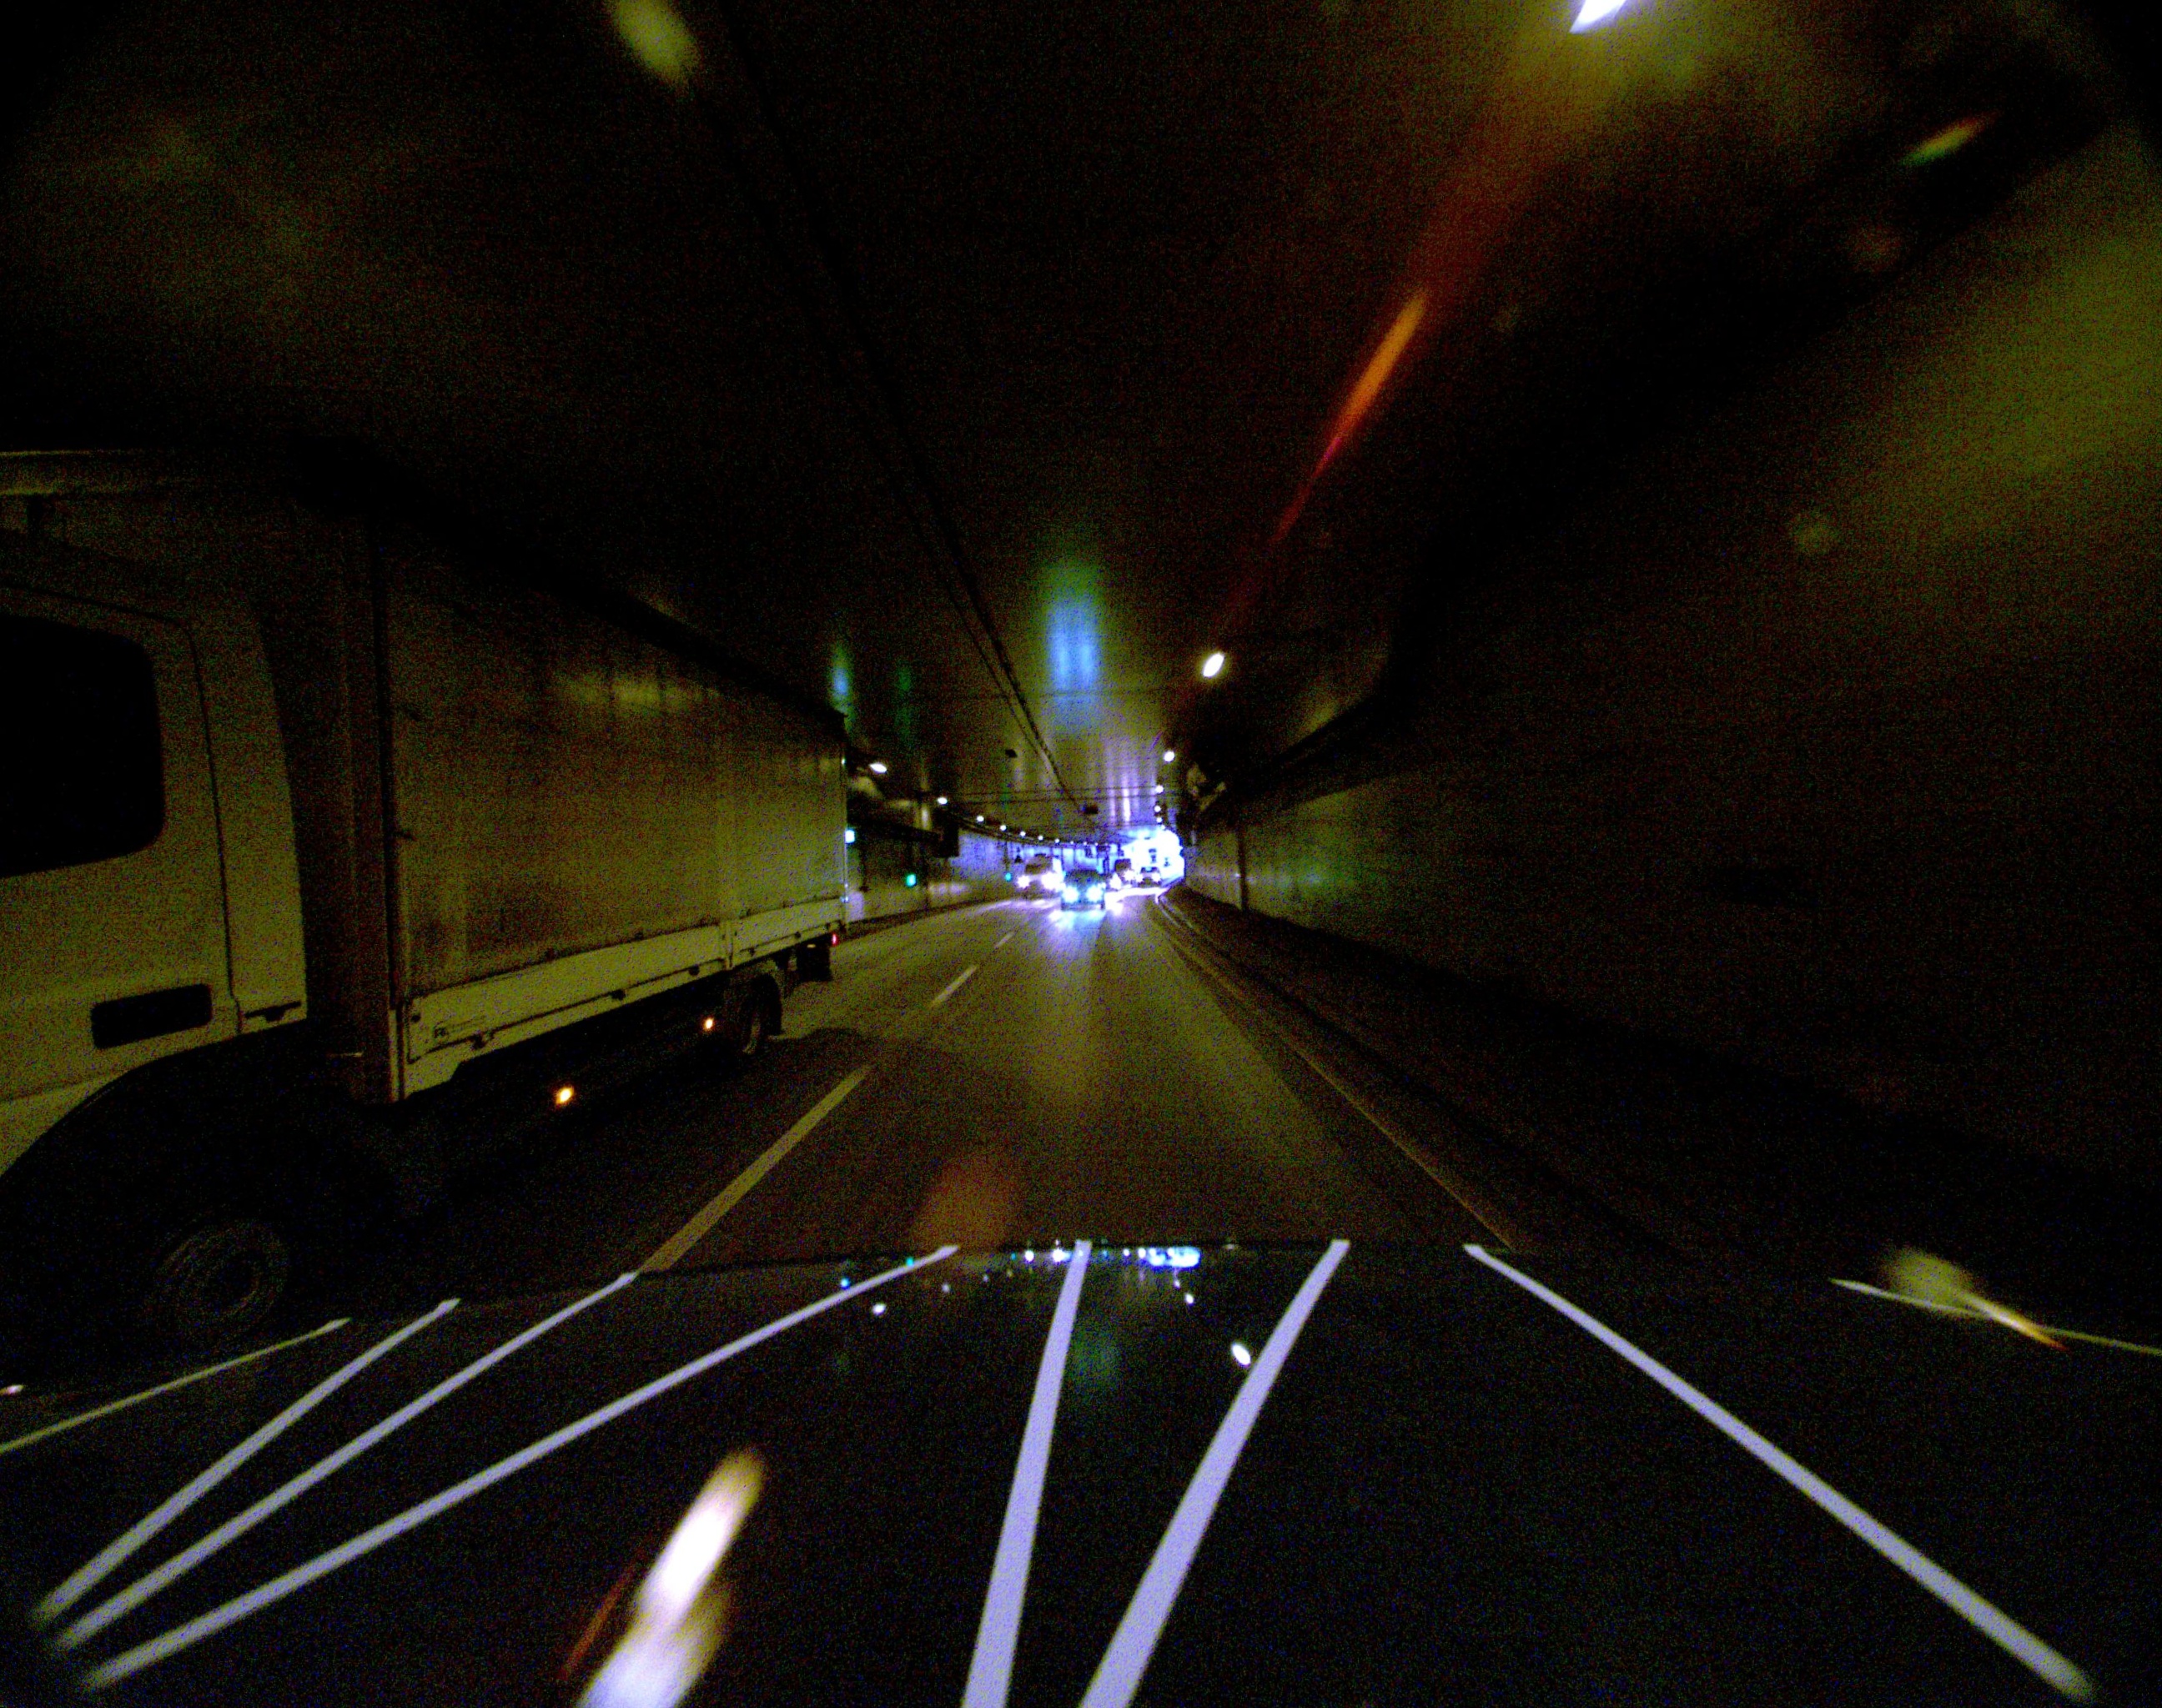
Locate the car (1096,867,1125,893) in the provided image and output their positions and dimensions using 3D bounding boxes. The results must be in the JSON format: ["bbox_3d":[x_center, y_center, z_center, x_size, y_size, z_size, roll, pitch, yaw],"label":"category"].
[{"bbox_3d":[2.239,1.889,56.514,1.764,1.552,3.819,-5,1,6],"label":"car"}]

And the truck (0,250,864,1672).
[{"bbox_3d":[-3.660,0.273,4.358,2.560,3.162,7.246,-2,0,1],"label":"truck"}]

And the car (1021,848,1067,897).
[{"bbox_3d":[-2.320,1.218,49.428,2.106,2.829,6.865,-3,-2,4],"label":"car"}]

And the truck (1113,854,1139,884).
[{"bbox_3d":[4.699,1.469,78.675,2.073,2.525,6.024,-5,2,7],"label":"truck"}]

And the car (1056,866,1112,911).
[{"bbox_3d":[0.164,1.276,29.387,1.638,1.551,3.719,-2,-1,8],"label":"car"}]

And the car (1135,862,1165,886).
[{"bbox_3d":[6.184,1.770,67.943,1.934,1.918,4.200,-5,0,13],"label":"car"}]

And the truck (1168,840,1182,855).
[{"bbox_3d":[19.566,-1.392,157.468,2.137,2.713,5.674,-5,2,13],"label":"truck"}]

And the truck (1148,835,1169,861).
[{"bbox_3d":[15.340,-1.211,149.604,2.885,4.447,10.457,-5,2,12],"label":"truck"}]

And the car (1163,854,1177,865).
[{"bbox_3d":[15.387,0.928,130.814,1.949,1.525,4.001,-5,3,12],"label":"car"}]
